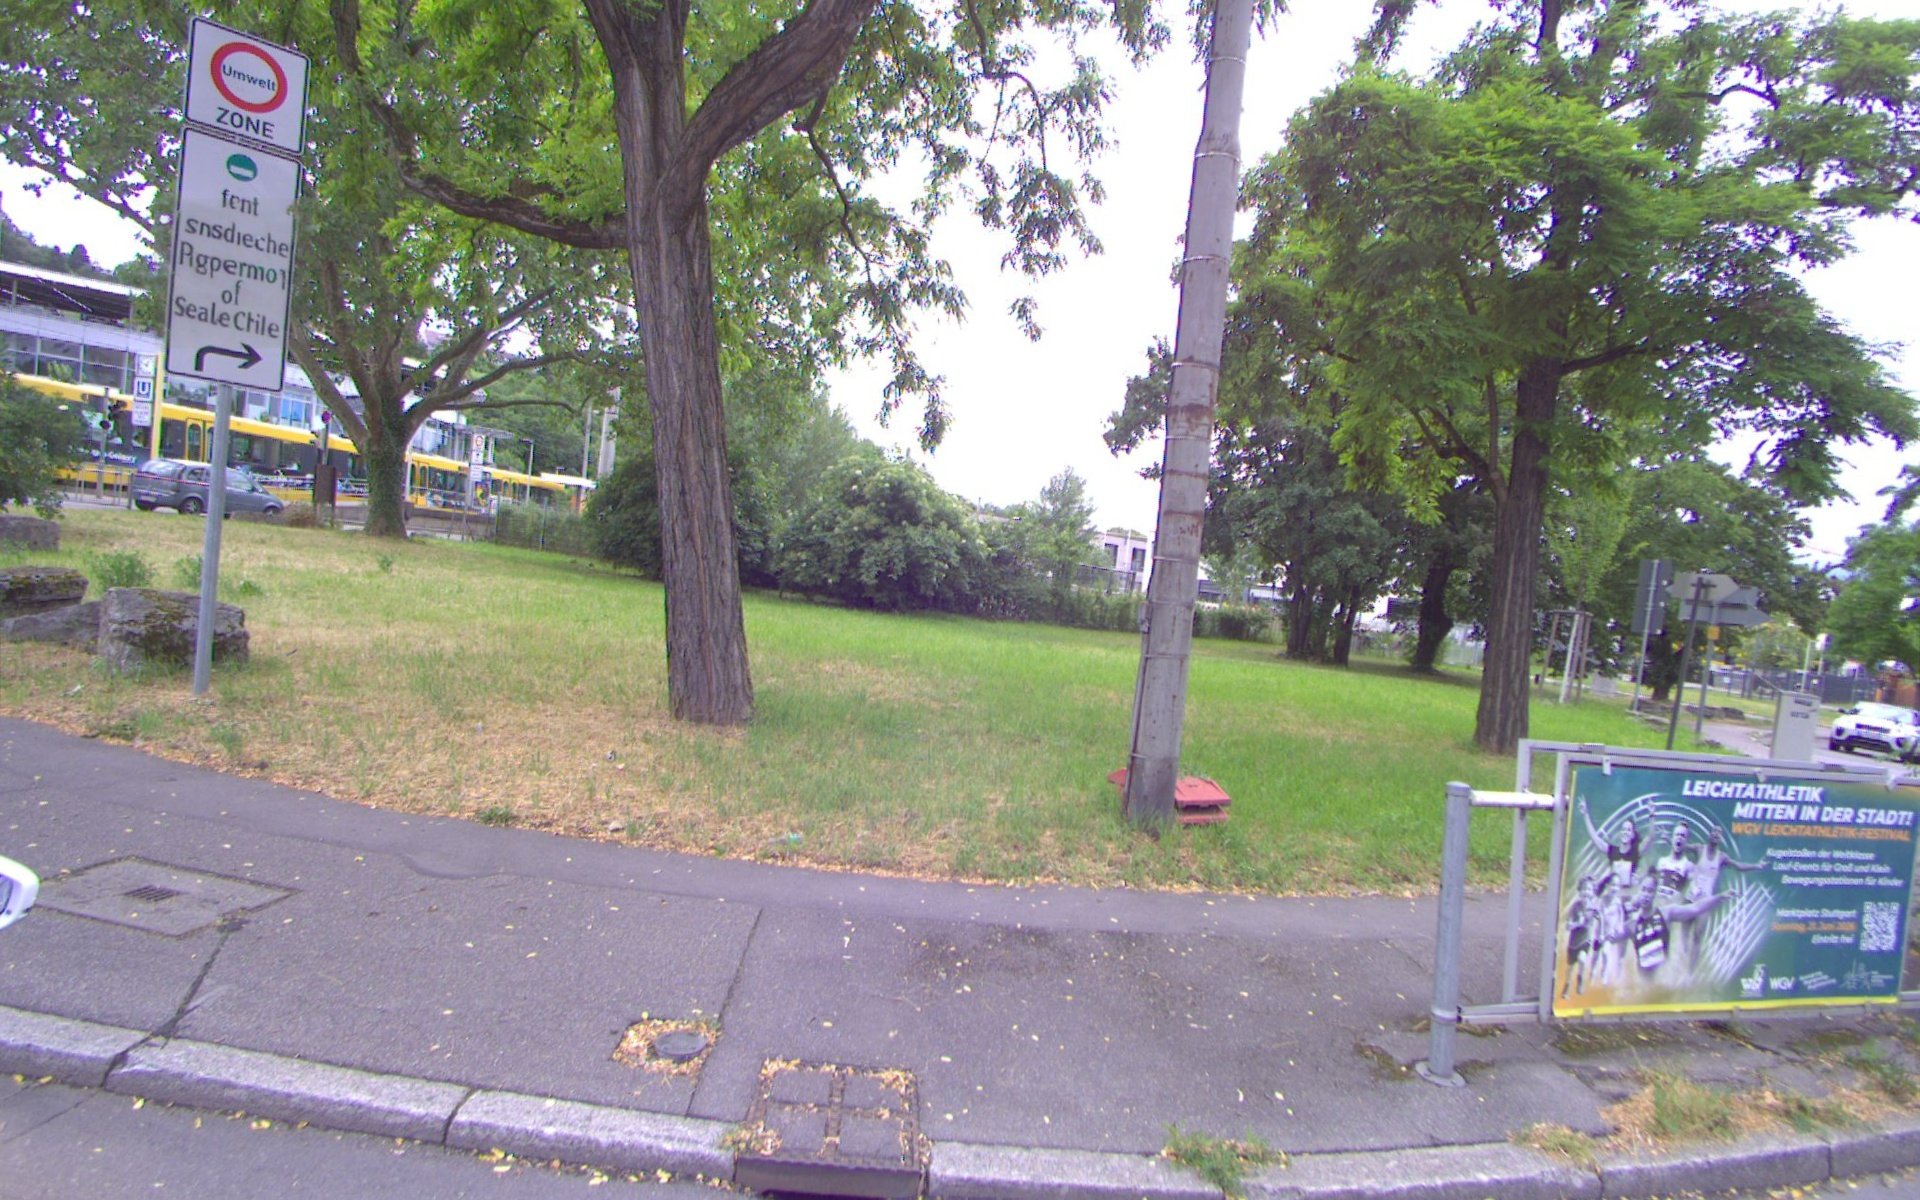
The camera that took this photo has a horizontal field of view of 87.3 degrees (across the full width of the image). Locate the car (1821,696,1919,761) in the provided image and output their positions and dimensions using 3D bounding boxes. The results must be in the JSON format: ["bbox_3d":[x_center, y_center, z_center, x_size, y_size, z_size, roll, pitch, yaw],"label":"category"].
[{"bbox_3d":[27.522,3.828,30.371,2.018,1.555,3.925,5,-1,38],"label":"car"}]

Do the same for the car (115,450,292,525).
[{"bbox_3d":[-22.145,-3.250,29.640,1.768,1.605,3.887,8,2,11],"label":"car"}]

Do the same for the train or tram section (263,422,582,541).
[{"bbox_3d":[-26.422,-5.593,52.138,3.215,3.713,19.168,7,2,10],"label":"train or tram section"}]

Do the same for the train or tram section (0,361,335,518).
[{"bbox_3d":[-29.732,-5.486,33.309,3.215,3.713,19.168,7,2,10],"label":"train or tram section"}]
